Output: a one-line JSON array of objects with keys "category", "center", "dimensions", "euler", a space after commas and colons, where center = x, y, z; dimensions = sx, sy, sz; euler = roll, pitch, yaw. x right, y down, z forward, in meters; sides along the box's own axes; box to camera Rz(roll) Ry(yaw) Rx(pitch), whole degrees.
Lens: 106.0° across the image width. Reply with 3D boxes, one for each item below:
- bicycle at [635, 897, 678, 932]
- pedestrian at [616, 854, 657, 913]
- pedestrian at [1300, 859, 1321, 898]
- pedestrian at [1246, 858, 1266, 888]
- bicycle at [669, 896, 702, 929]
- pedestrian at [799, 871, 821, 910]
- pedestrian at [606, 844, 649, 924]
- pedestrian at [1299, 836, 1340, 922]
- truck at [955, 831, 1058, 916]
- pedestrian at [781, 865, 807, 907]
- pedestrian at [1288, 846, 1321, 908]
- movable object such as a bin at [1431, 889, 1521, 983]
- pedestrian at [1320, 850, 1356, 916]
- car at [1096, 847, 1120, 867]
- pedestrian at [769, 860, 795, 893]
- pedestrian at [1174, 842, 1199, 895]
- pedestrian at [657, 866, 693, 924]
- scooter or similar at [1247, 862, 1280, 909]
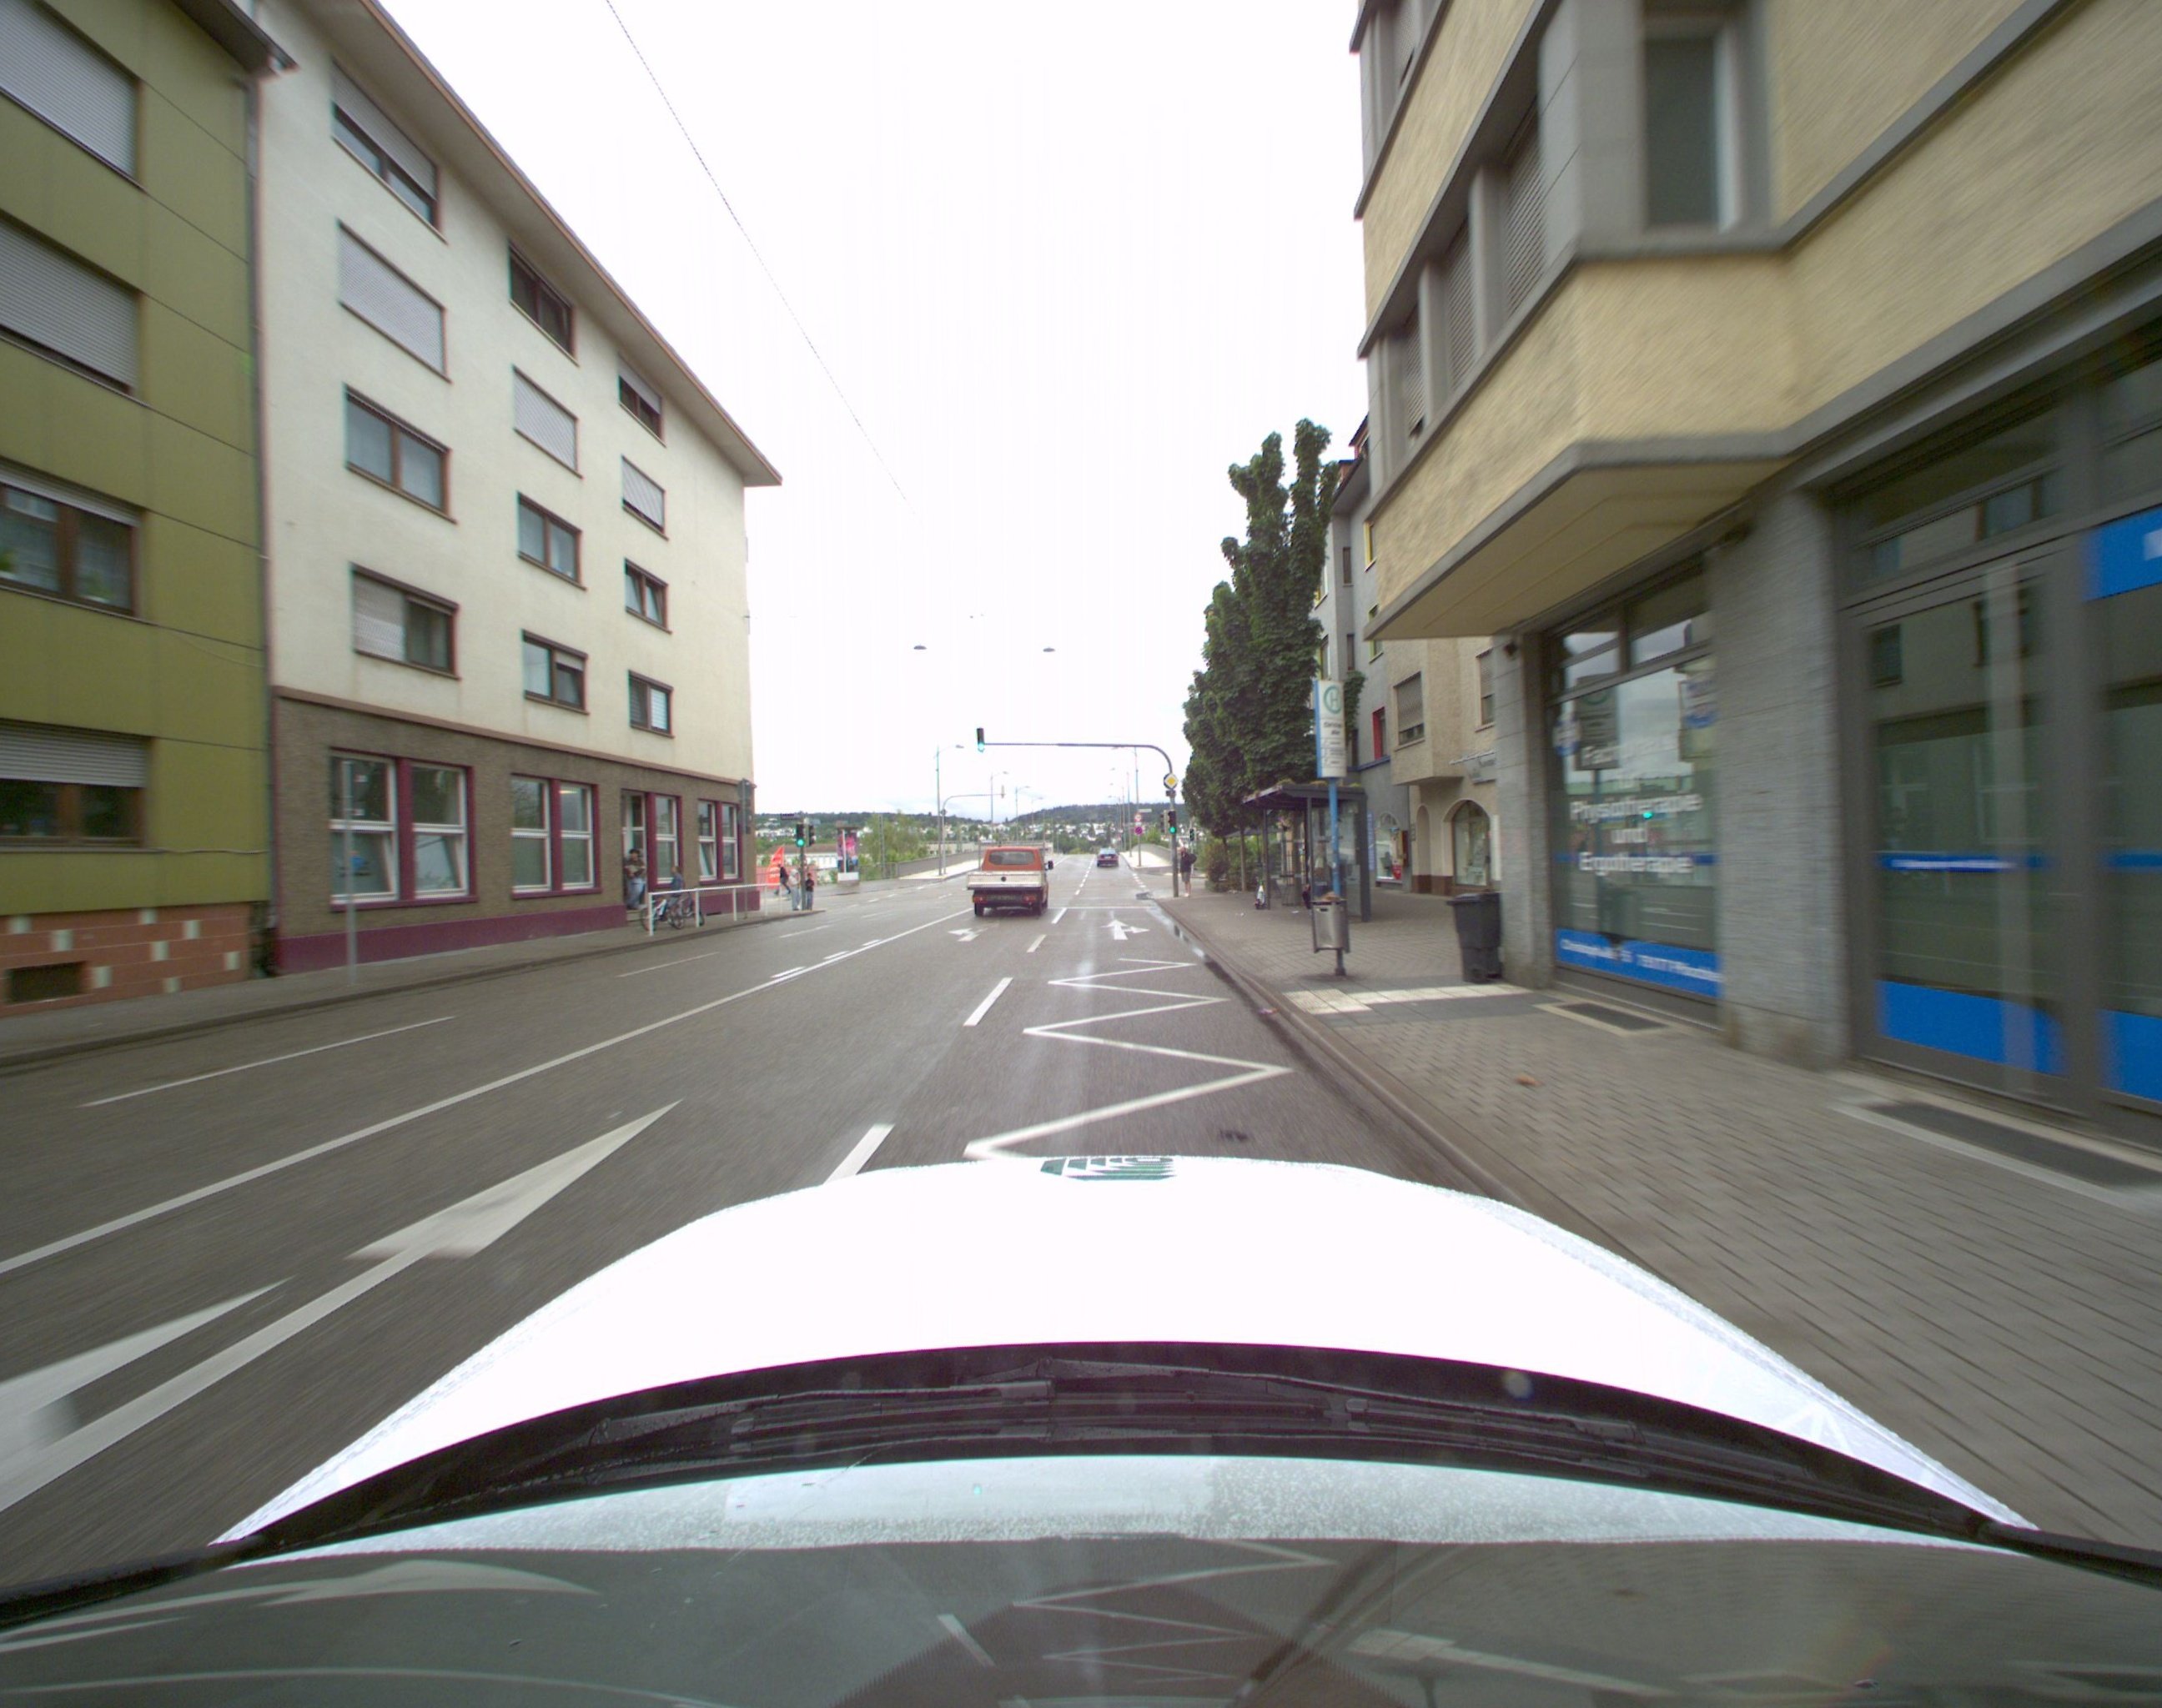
[{"category": "bicycle", "center": [-10.715, 1.512, 20.596], "dimensions": [0.263, 0.783, 1.422], "euler": [-2, -1, 2]}, {"category": "pedestrian", "center": [-12.341, 0.818, 22.613], "dimensions": [0.771, 1.577, 0.589], "euler": [-2, -1, 1]}, {"category": "pedestrian", "center": [9.464, 1.008, 33.656], "dimensions": [0.641, 1.571, 0.726], "euler": [-2, -1, 4]}, {"category": "pedestrian", "center": [7.112, 0.759, 33.168], "dimensions": [0.662, 1.189, 0.557], "euler": [-2, -1, 0]}, {"category": "bicycle", "center": [-10.301, 1.505, 21.242], "dimensions": [0.263, 0.783, 1.111], "euler": [-2, -1, 2]}, {"category": "pedestrian", "center": [-10.098, 1.358, 30.350], "dimensions": [0.542, 1.388, 0.650], "euler": [-2, -1, 3]}, {"category": "pedestrian", "center": [-12.283, 0.808, 22.091], "dimensions": [0.709, 2.100, 0.730], "euler": [-2, -1, -2]}, {"category": "pedestrian", "center": [4.888, 0.507, 16.733], "dimensions": [0.616, 1.699, 0.657], "euler": [-2, -1, 5]}, {"category": "truck", "center": [-2.037, 0.553, 24.024], "dimensions": [2.391, 2.129, 5.315], "euler": [-2, -1, 1]}, {"category": "pedestrian", "center": [-10.448, 1.158, 29.649], "dimensions": [0.640, 1.458, 0.661], "euler": [-2, -1, 0]}, {"category": "pedestrian", "center": [5.049, 0.515, 18.446], "dimensions": [0.532, 1.350, 0.596], "euler": [-2, -1, 0]}, {"category": "movable object such as a bin", "center": [4.223, 0.861, 8.739], "dimensions": [0.598, 0.926, 0.705], "euler": [-2, -1, 1]}, {"category": "pedestrian", "center": [5.601, 0.628, 17.789], "dimensions": [0.562, 1.397, 0.514], "euler": [-2, -1, -2]}, {"category": "car", "center": [2.119, 0.256, 64.139], "dimensions": [1.747, 1.479, 4.001], "euler": [-2, -1, 2]}, {"category": "pedestrian", "center": [-16.310, 1.226, 44.434], "dimensions": [1.076, 1.757, 1.052], "euler": [-2, -1, -33]}, {"category": "pedestrian", "center": [3.752, 0.517, 28.918], "dimensions": [0.730, 1.841, 0.631], "euler": [-2, -1, 0]}, {"category": "pedestrian", "center": [-11.276, 1.124, 22.636], "dimensions": [0.573, 1.553, 0.739], "euler": [-2, -1, -1]}, {"category": "scooter or similar", "center": [4.799, 0.803, 21.490], "dimensions": [0.509, 1.172, 1.550], "euler": [-2, -1, 2]}]
